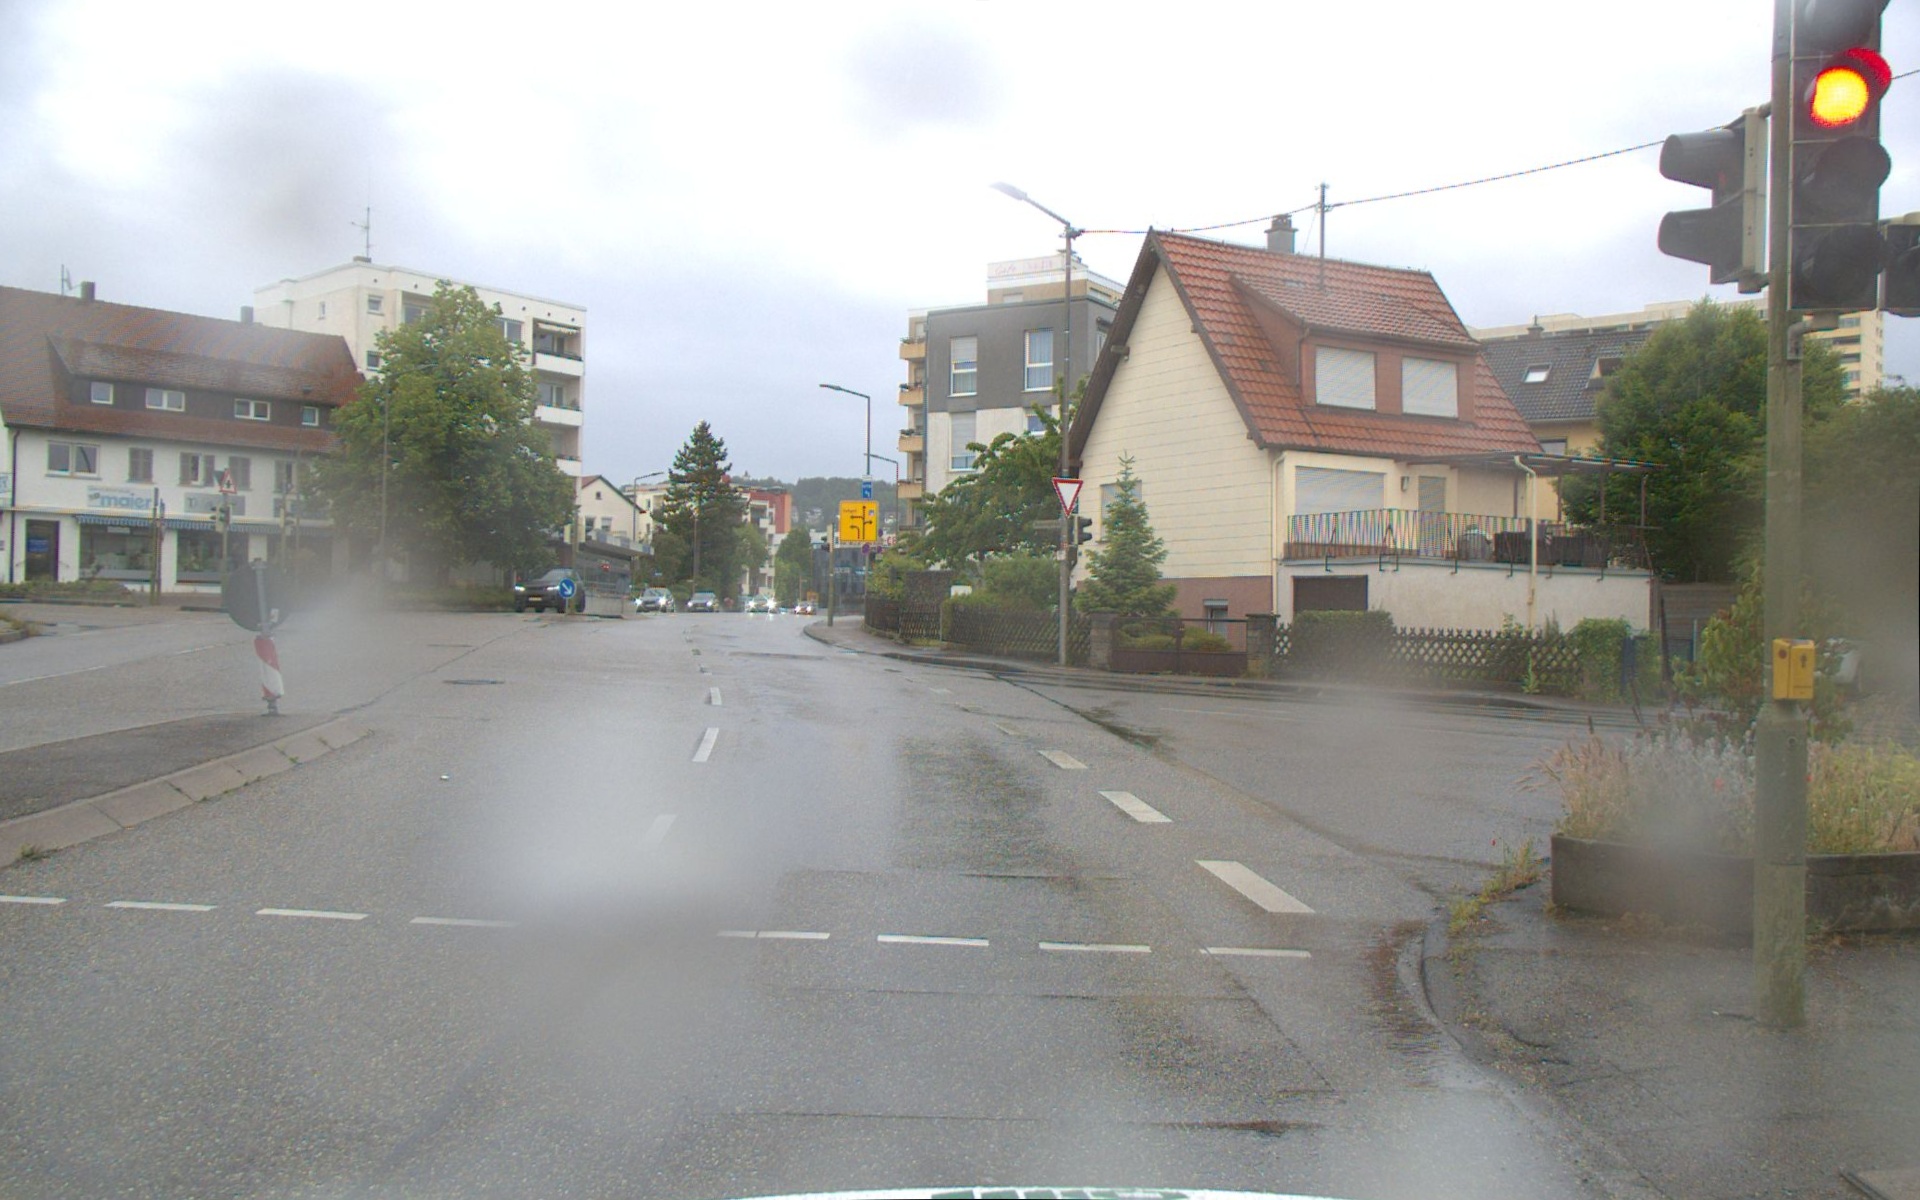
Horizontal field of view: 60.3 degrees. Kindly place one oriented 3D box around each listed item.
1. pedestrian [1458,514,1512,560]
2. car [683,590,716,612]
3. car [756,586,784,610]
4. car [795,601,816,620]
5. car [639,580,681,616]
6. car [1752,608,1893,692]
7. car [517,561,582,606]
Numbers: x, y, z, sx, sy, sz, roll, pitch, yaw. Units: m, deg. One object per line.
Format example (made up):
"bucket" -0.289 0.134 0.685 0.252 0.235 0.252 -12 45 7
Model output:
"pedestrian" 11.159 -1.338 35.174 0.902 0.898 0.632 1 -2 -20
"car" -17.941 0.063 114.001 1.955 1.489 3.995 1 0 -5
"car" -14.169 -0.145 123.297 1.955 1.708 3.995 1 0 -5
"car" -15.125 1.011 161.998 1.955 1.843 3.995 1 0 -5
"car" -16.824 -0.093 92.983 1.955 1.937 3.995 1 0 -5
"car" 15.629 0.862 29.873 1.780 1.386 3.986 1 0 35
"car" -16.898 -0.642 68.249 1.956 1.768 5.173 1 0 -7
